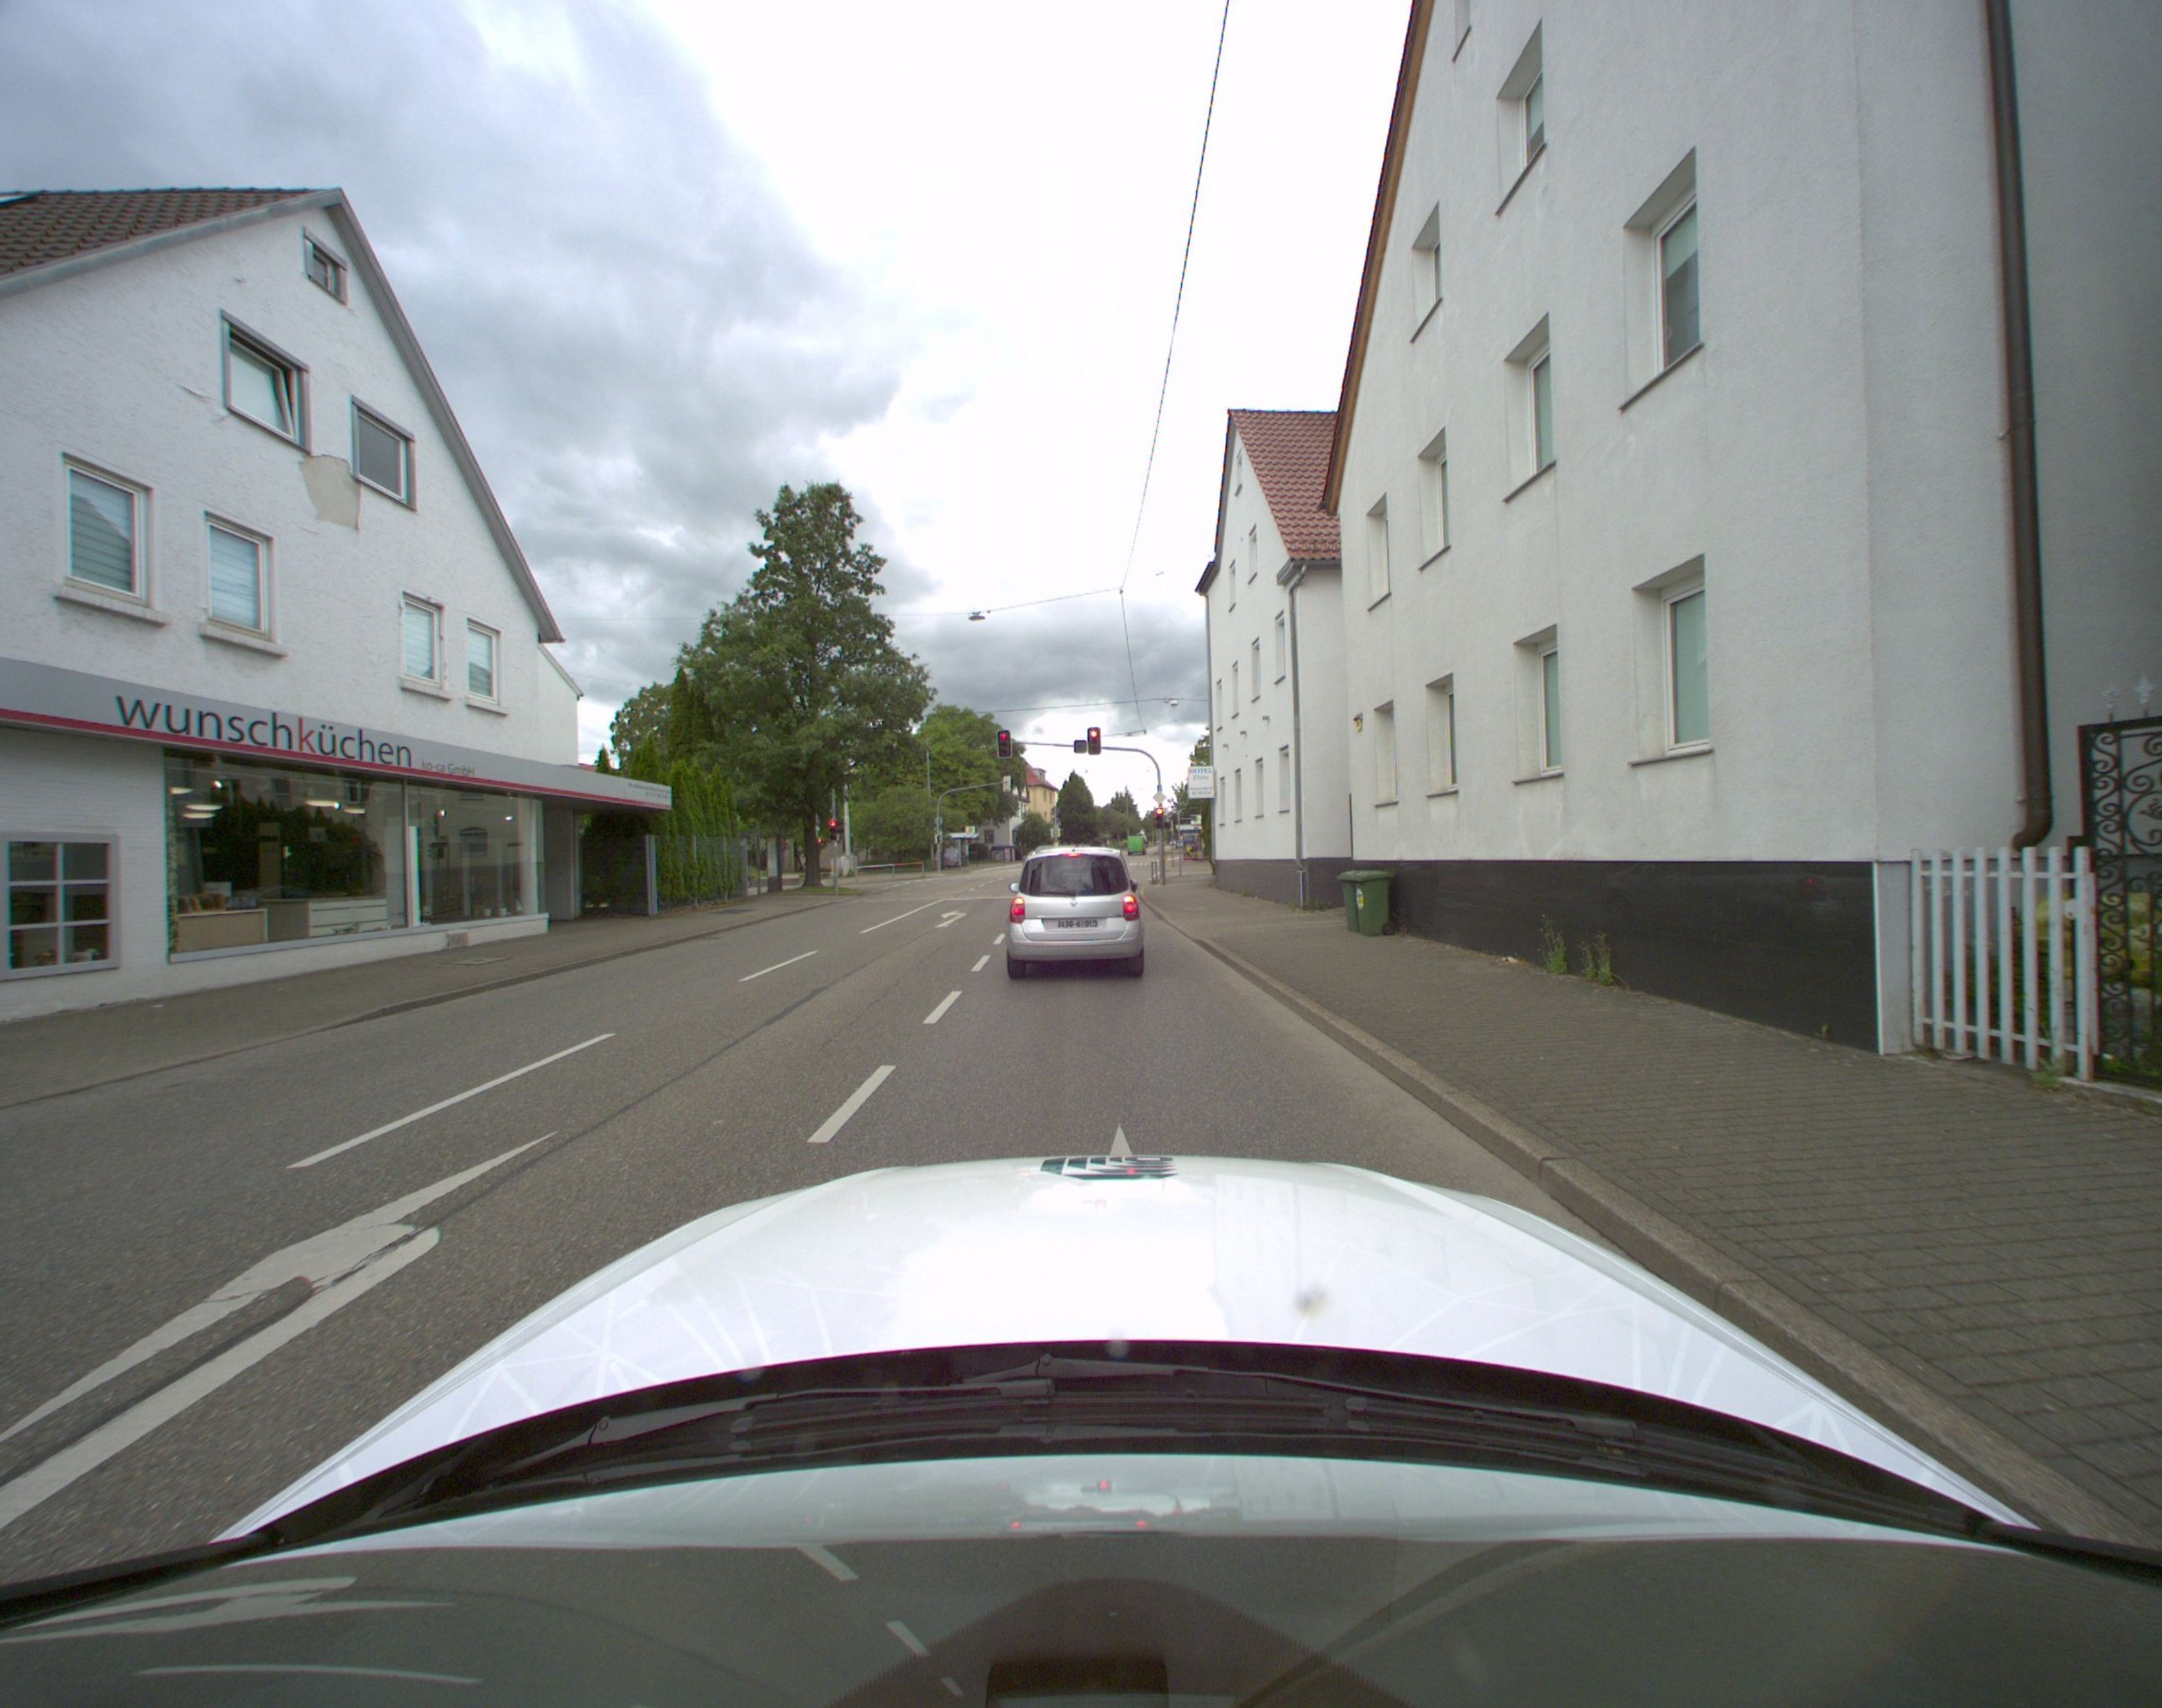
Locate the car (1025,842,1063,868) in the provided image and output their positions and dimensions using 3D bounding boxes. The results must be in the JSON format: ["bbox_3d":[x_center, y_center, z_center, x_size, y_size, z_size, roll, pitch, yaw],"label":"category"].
[{"bbox_3d":[-2.865,0.056,63.867,1.914,1.773,4.012,-5,0,10],"label":"car"}]

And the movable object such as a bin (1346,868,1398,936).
[{"bbox_3d":[4.290,0.697,12.044,0.538,0.941,0.487,-4,0,0],"label":"movable object such as a bin"}]

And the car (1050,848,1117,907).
[{"bbox_3d":[0.061,0.606,23.323,1.749,1.530,3.796,-1,0,0],"label":"car"}]

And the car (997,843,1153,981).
[{"bbox_3d":[-0.080,0.657,11.240,1.749,1.530,3.999,-1,0,0],"label":"car"}]

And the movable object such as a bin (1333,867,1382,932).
[{"bbox_3d":[4.266,0.697,12.580,0.538,0.941,0.487,-4,0,0],"label":"movable object such as a bin"}]

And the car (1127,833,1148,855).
[{"bbox_3d":[6.943,-1.192,99.119,2.047,2.512,5.609,-1,0,9],"label":"car"}]
